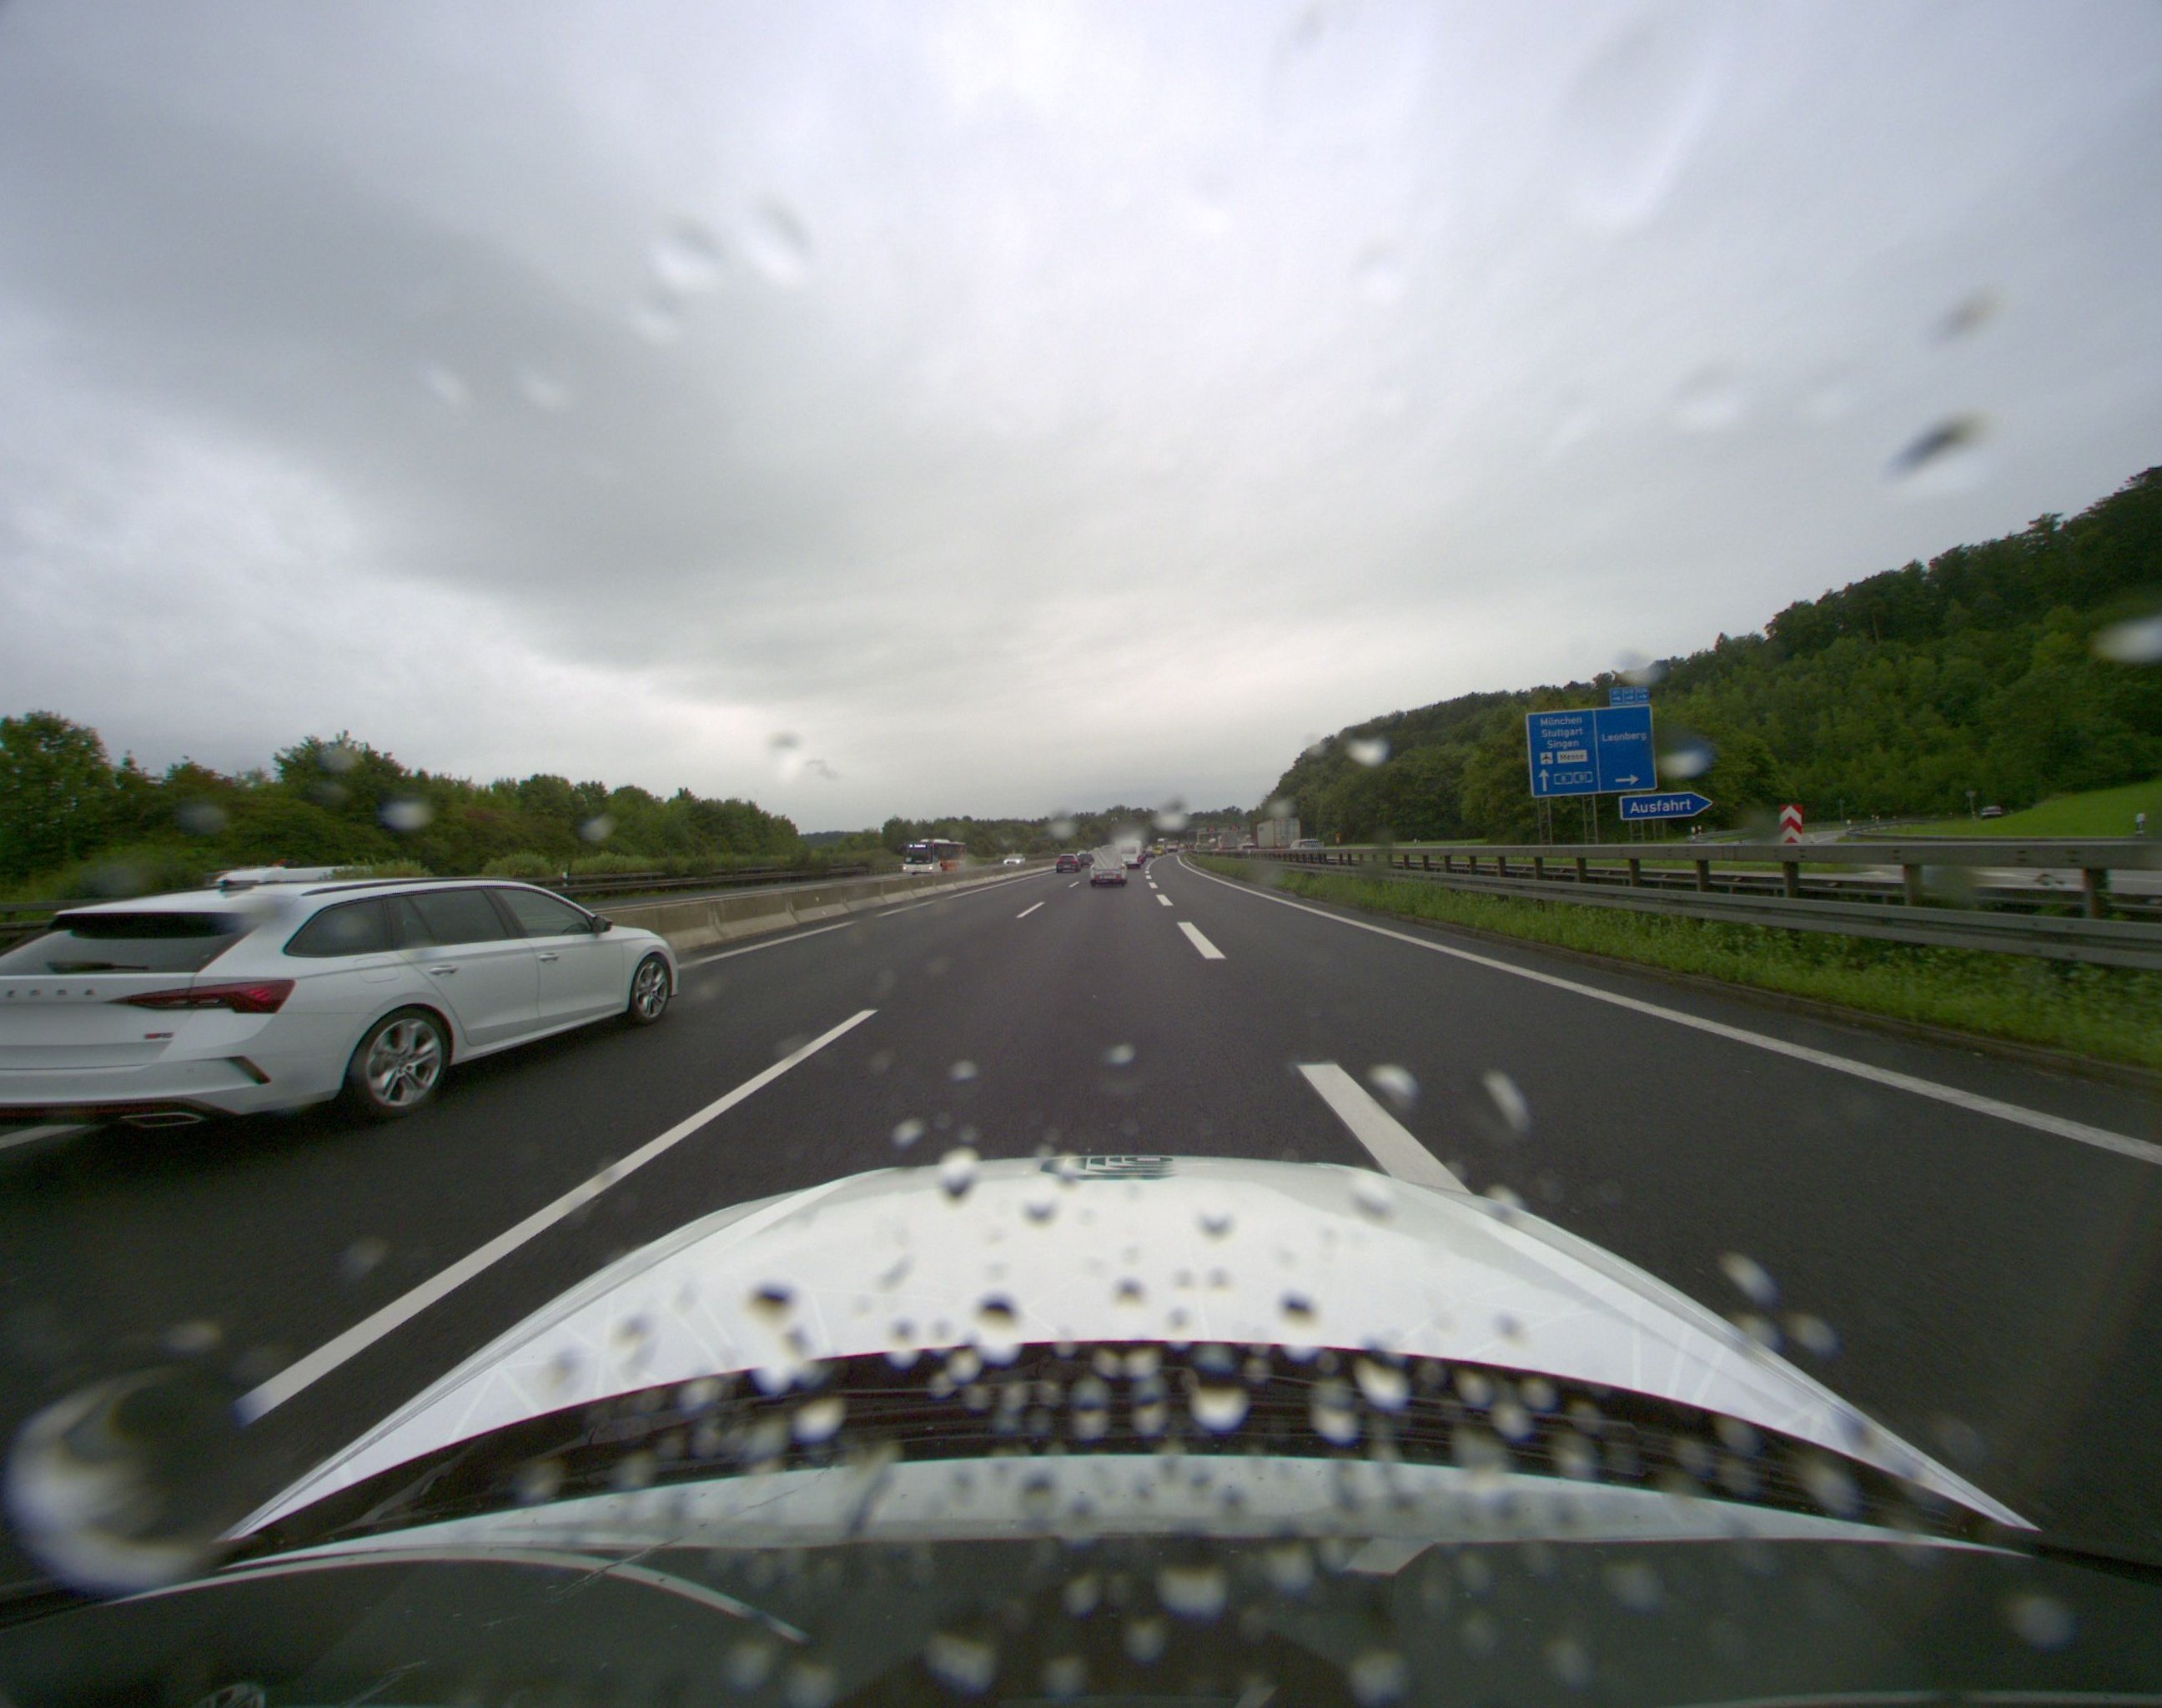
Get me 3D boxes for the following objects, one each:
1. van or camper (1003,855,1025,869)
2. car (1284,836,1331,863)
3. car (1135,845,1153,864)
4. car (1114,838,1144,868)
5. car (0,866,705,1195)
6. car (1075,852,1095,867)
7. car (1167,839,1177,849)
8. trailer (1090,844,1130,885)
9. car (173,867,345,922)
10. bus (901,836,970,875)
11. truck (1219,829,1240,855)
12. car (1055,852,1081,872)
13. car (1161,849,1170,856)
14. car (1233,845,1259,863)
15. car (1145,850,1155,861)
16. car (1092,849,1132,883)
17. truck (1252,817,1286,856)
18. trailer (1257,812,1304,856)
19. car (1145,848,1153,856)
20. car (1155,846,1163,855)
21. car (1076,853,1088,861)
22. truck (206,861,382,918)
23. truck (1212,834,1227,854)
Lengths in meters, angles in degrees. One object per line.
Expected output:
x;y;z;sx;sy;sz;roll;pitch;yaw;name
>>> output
-7.045;0.828;86.240;1.741;1.447;4.589;-2;0;3;van or camper
13.298;-0.255;47.967;1.660;1.382;4.128;-4;0;2;car
7.427;0.074;95.827;1.665;2.067;4.012;-2;0;11;car
4.515;-0.060;75.665;2.496;2.585;5.707;-2;0;5;car
-4.949;0.871;6.181;1.812;1.456;4.779;-2;0;2;car
0.435;0.544;84.742;1.757;1.456;4.006;-2;0;5;car
25.468;-2.851;227.009;2.502;2.574;5.323;-2;0;8;car
1.434;0.472;38.906;1.668;1.812;4.004;-2;0;4;trailer
-30.692;1.452;30.649;1.793;1.786;4.415;-2;0;3;car
-12.551;0.139;71.407;2.685;2.958;11.916;-3;-1;5;bus
28.765;-2.291;158.063;3.198;4.666;13.058;-2;0;7;truck
-1.056;0.639;66.055;1.668;1.456;4.005;-2;0;5;car
20.057;-0.329;193.462;2.025;1.683;4.010;-2;0;9;car
15.596;-0.017;77.097;1.762;1.610;4.648;-2;0;4;car
12.362;0.298;145.619;1.669;1.812;4.003;-2;0;3;car
1.678;0.581;42.386;1.810;1.616;4.784;-2;0;5;car
20.082;-1.787;87.240;2.603;3.884;6.401;-2;0;5;truck
19.459;-1.824;80.287;2.591;3.894;12.508;-2;0;5;trailer
17.988;-0.403;214.817;1.983;2.014;4.007;-2;0;6;car
16.591;-0.809;173.468;1.667;1.812;4.007;-2;0;6;car
0.282;0.607;175.392;1.881;1.650;4.612;-2;0;7;car
-35.857;1.529;37.465;2.018;2.241;6.160;-2;0;0;truck
34.614;-2.396;203.658;3.196;4.666;13.066;-2;0;9;truck
